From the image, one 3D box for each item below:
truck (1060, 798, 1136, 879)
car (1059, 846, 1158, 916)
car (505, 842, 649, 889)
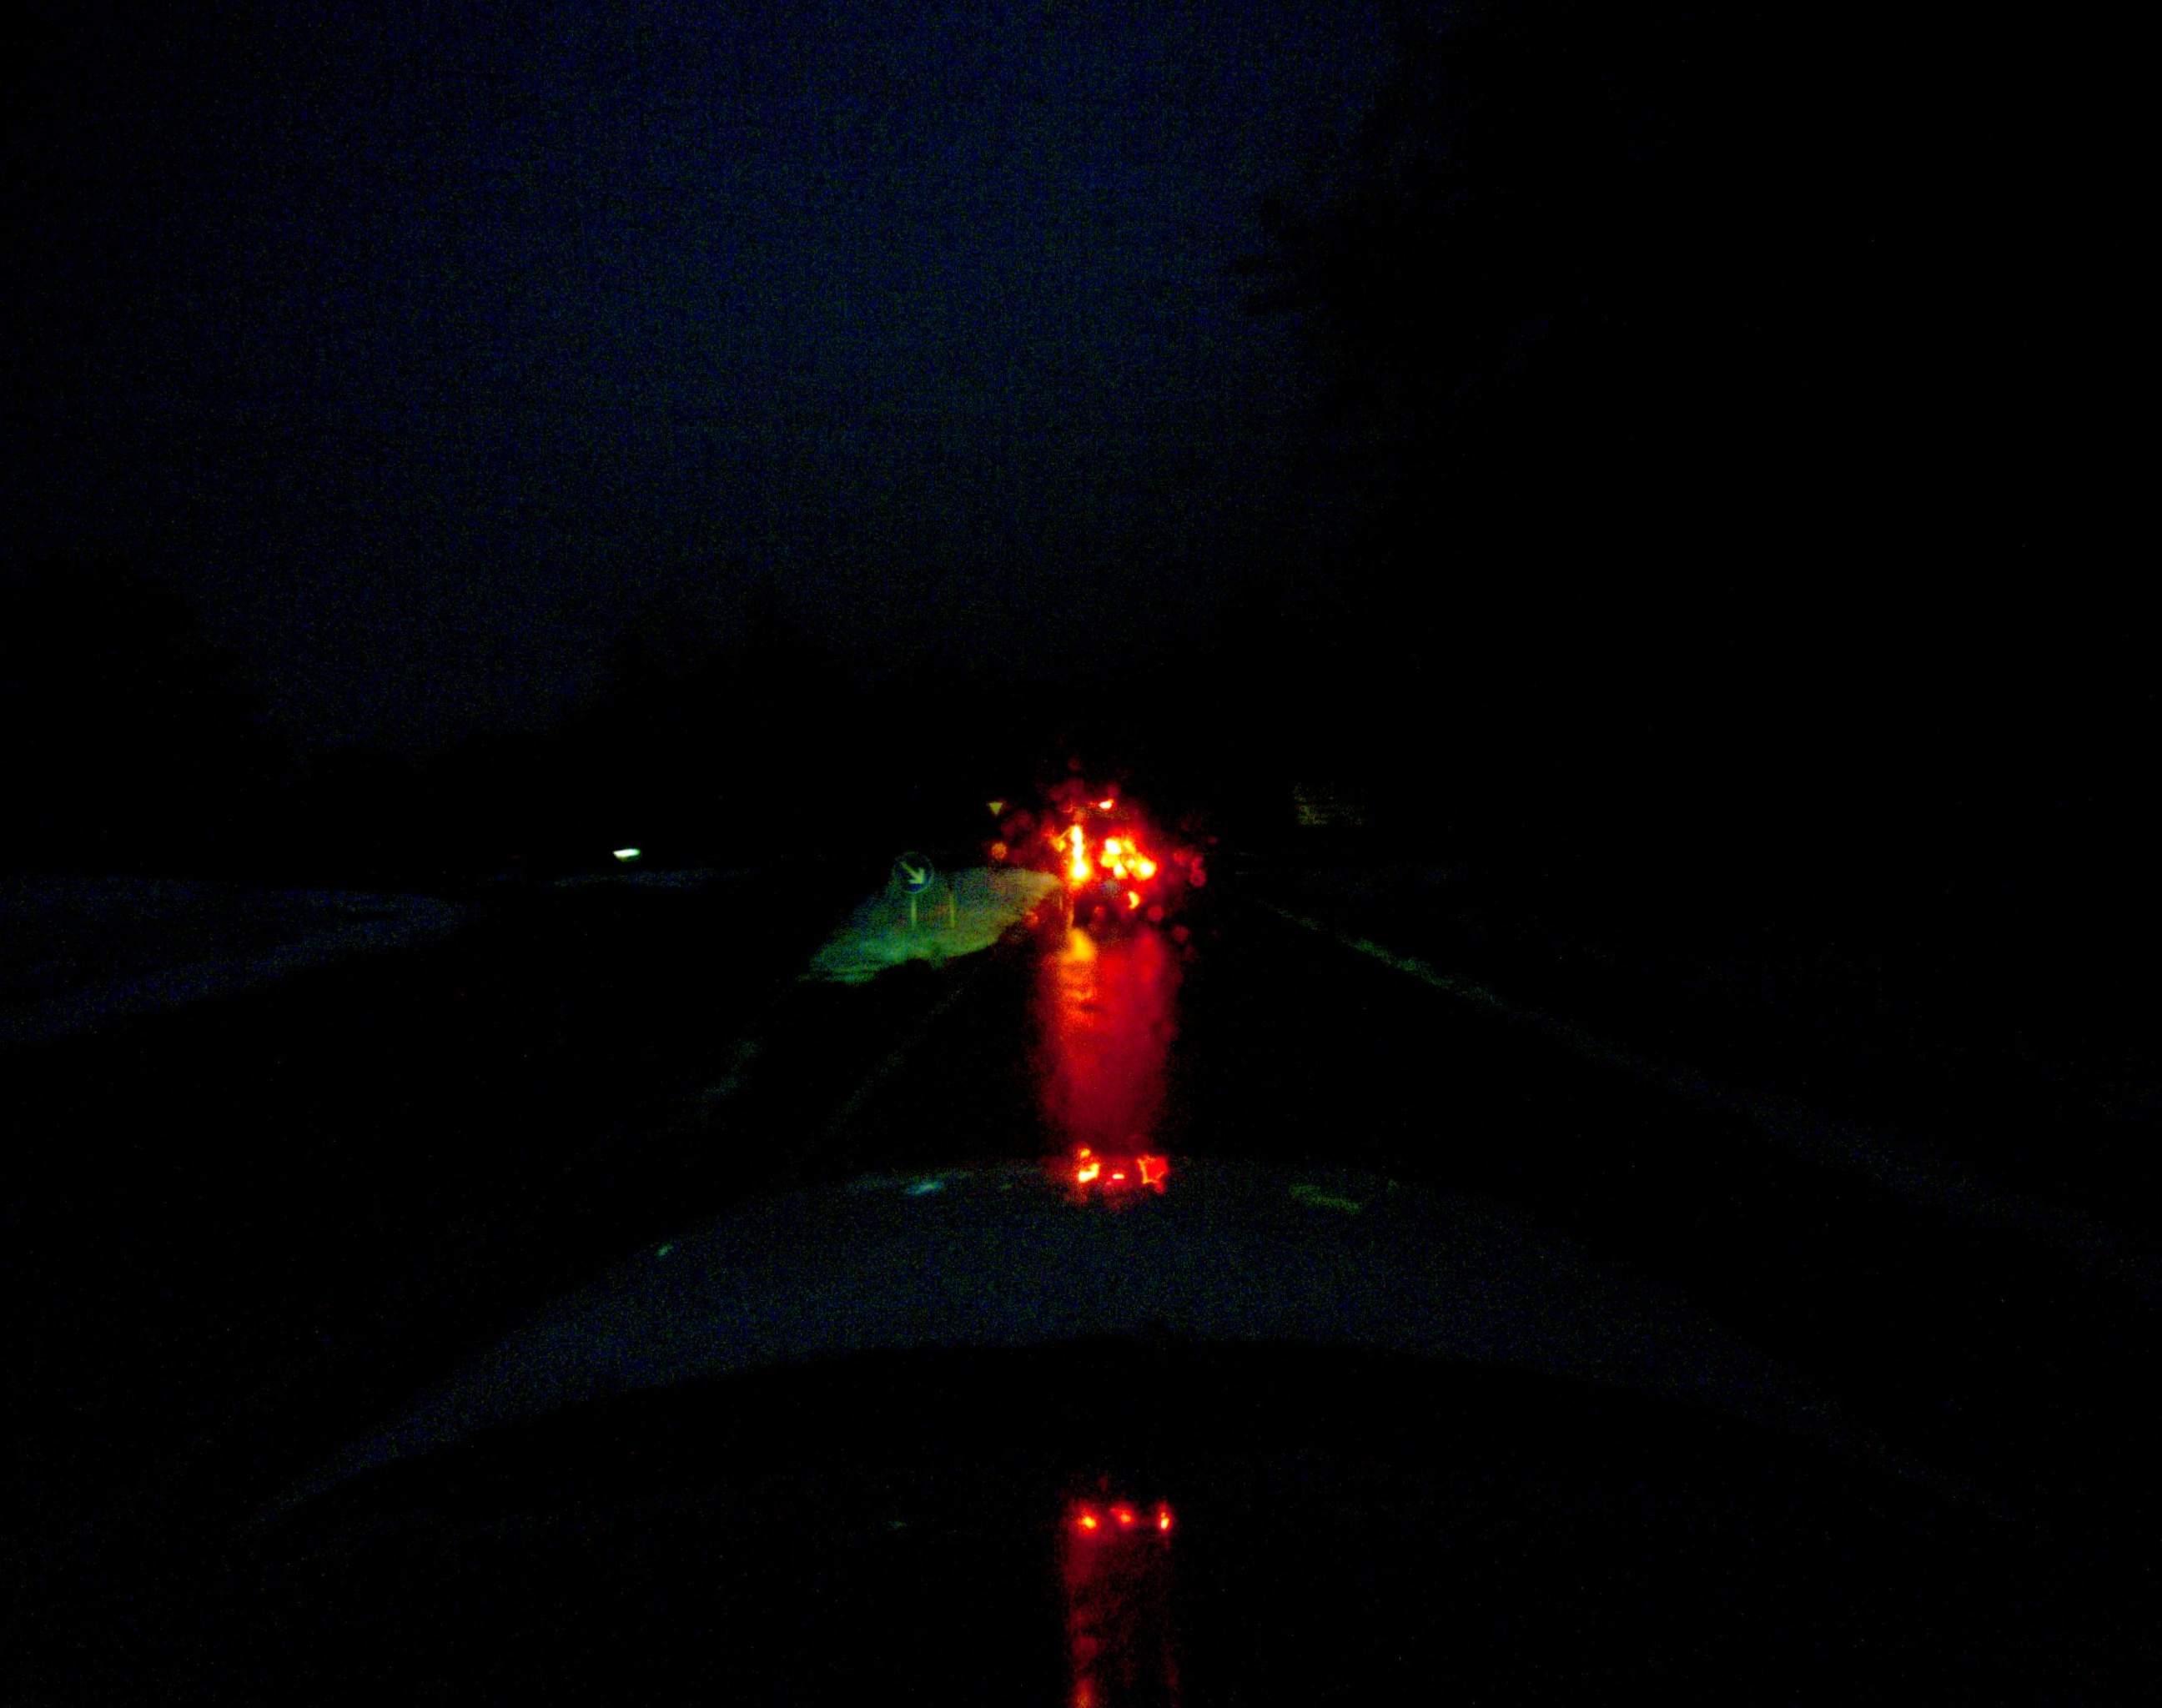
[{"bbox_3d":[0.527,-0.567,30.712,2.074,2.745,5.306,1,0,-7],"label":"truck"},{"bbox_3d":[0.574,0.502,17.808,1.915,1.276,4.002,1,2,1],"label":"car"},{"bbox_3d":[-21.758,0.491,35.354,5.004,1.945,1.679,1,0,-10],"label":"car"}]
